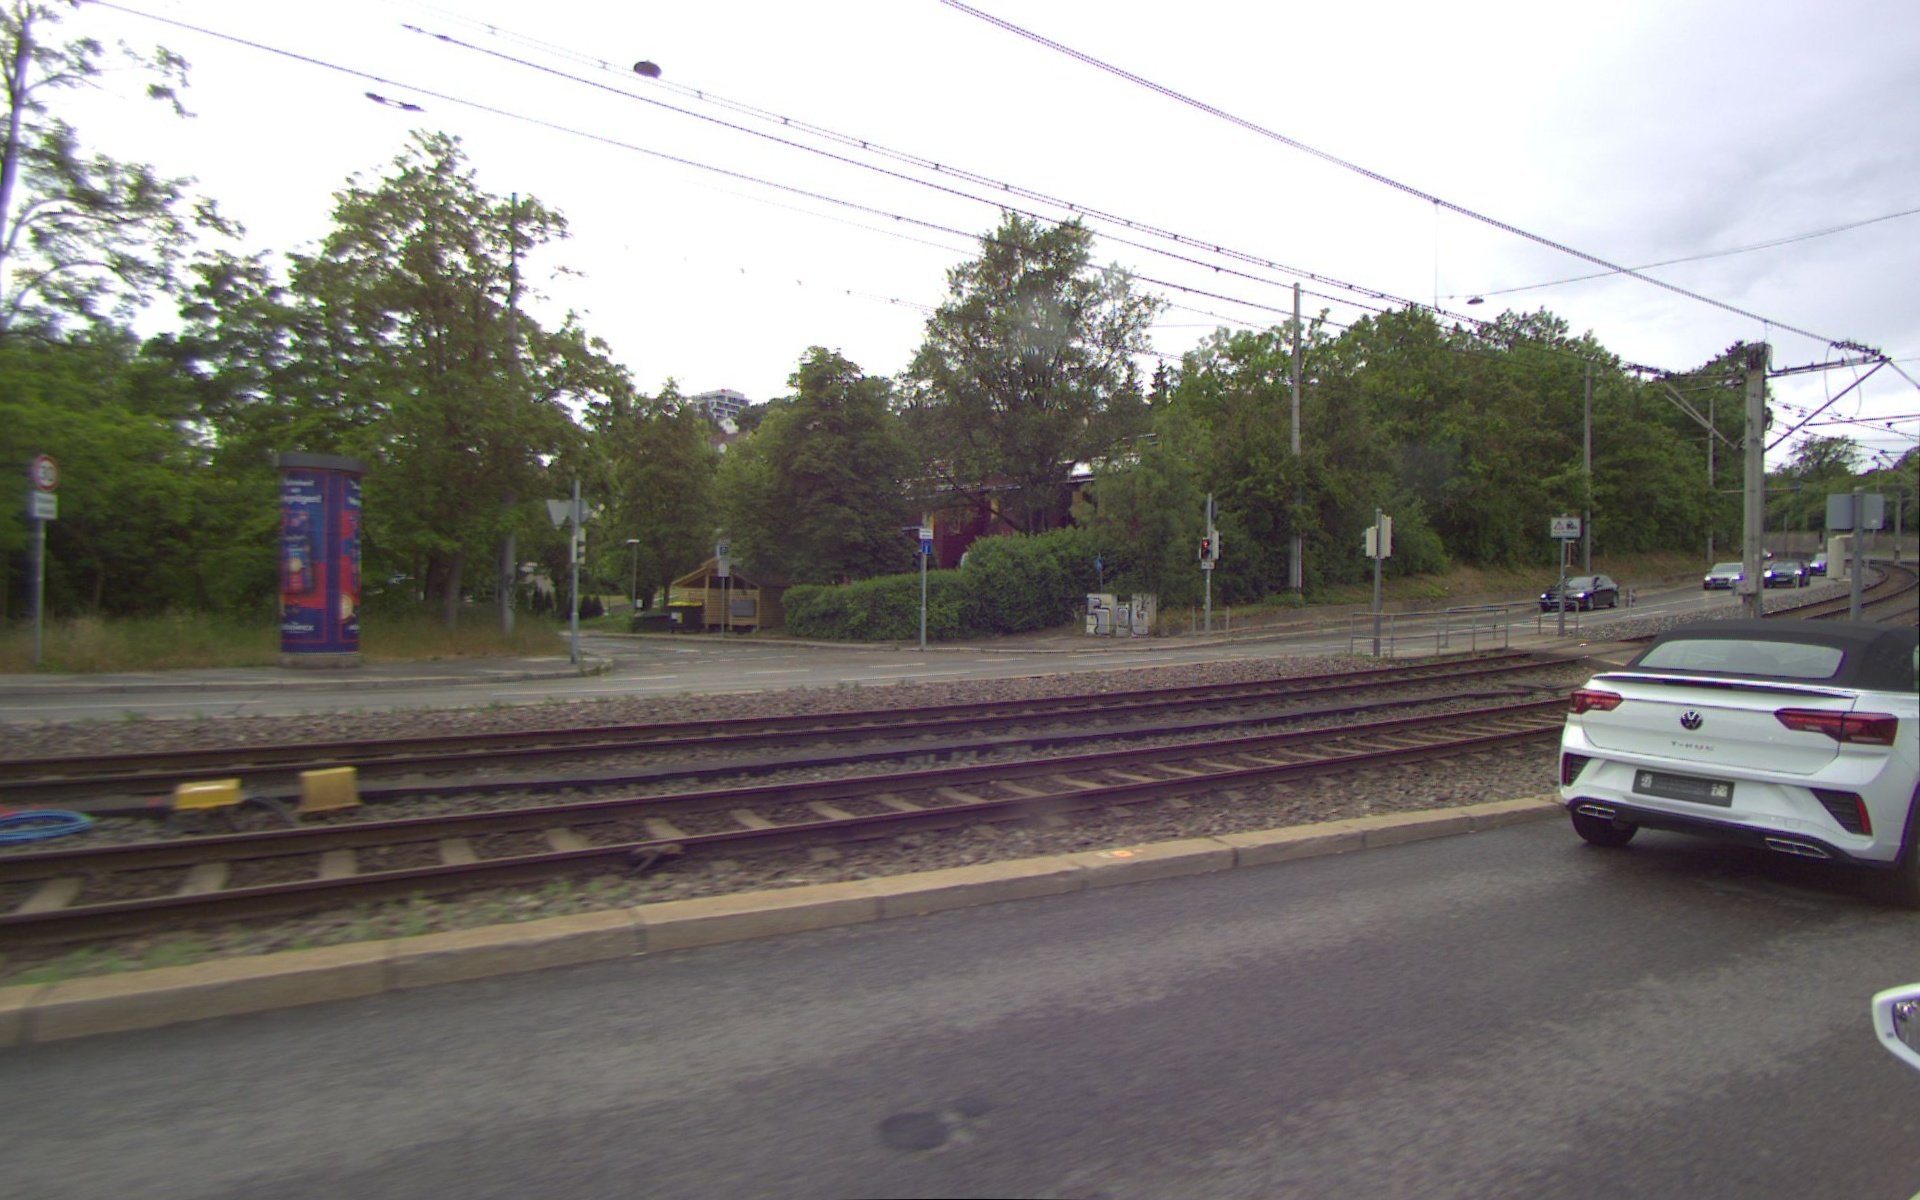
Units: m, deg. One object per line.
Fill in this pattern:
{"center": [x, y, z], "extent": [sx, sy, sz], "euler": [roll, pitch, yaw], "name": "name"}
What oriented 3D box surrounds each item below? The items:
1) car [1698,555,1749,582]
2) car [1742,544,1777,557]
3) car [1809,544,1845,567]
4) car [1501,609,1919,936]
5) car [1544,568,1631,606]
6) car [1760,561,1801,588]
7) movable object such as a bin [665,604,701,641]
{"center": [43.420, -1.810, 57.098], "extent": [1.800, 1.398, 4.676], "euler": [-1, 2, 44], "name": "car"}
{"center": [92.736, -5.777, 116.505], "extent": [1.677, 1.434, 4.032], "euler": [-1, 2, 15], "name": "car"}
{"center": [61.519, -3.178, 71.249], "extent": [1.840, 1.458, 4.829], "euler": [-2, 2, 41], "name": "car"}
{"center": [5.831, 0.887, 6.806], "extent": [4.490, 1.544, 1.861], "euler": [2, -1, -32], "name": "car"}
{"center": [26.054, -0.566, 41.655], "extent": [4.236, 1.478, 1.703], "euler": [-2, 1, -38], "name": "car"}
{"center": [45.469, -1.411, 55.657], "extent": [1.614, 1.403, 3.873], "euler": [-2, 0, 41], "name": "car"}
{"center": [-11.820, 0.951, 42.890], "extent": [1.263, 1.445, 0.676], "euler": [4, 1, 22], "name": "movable object such as a bin"}
